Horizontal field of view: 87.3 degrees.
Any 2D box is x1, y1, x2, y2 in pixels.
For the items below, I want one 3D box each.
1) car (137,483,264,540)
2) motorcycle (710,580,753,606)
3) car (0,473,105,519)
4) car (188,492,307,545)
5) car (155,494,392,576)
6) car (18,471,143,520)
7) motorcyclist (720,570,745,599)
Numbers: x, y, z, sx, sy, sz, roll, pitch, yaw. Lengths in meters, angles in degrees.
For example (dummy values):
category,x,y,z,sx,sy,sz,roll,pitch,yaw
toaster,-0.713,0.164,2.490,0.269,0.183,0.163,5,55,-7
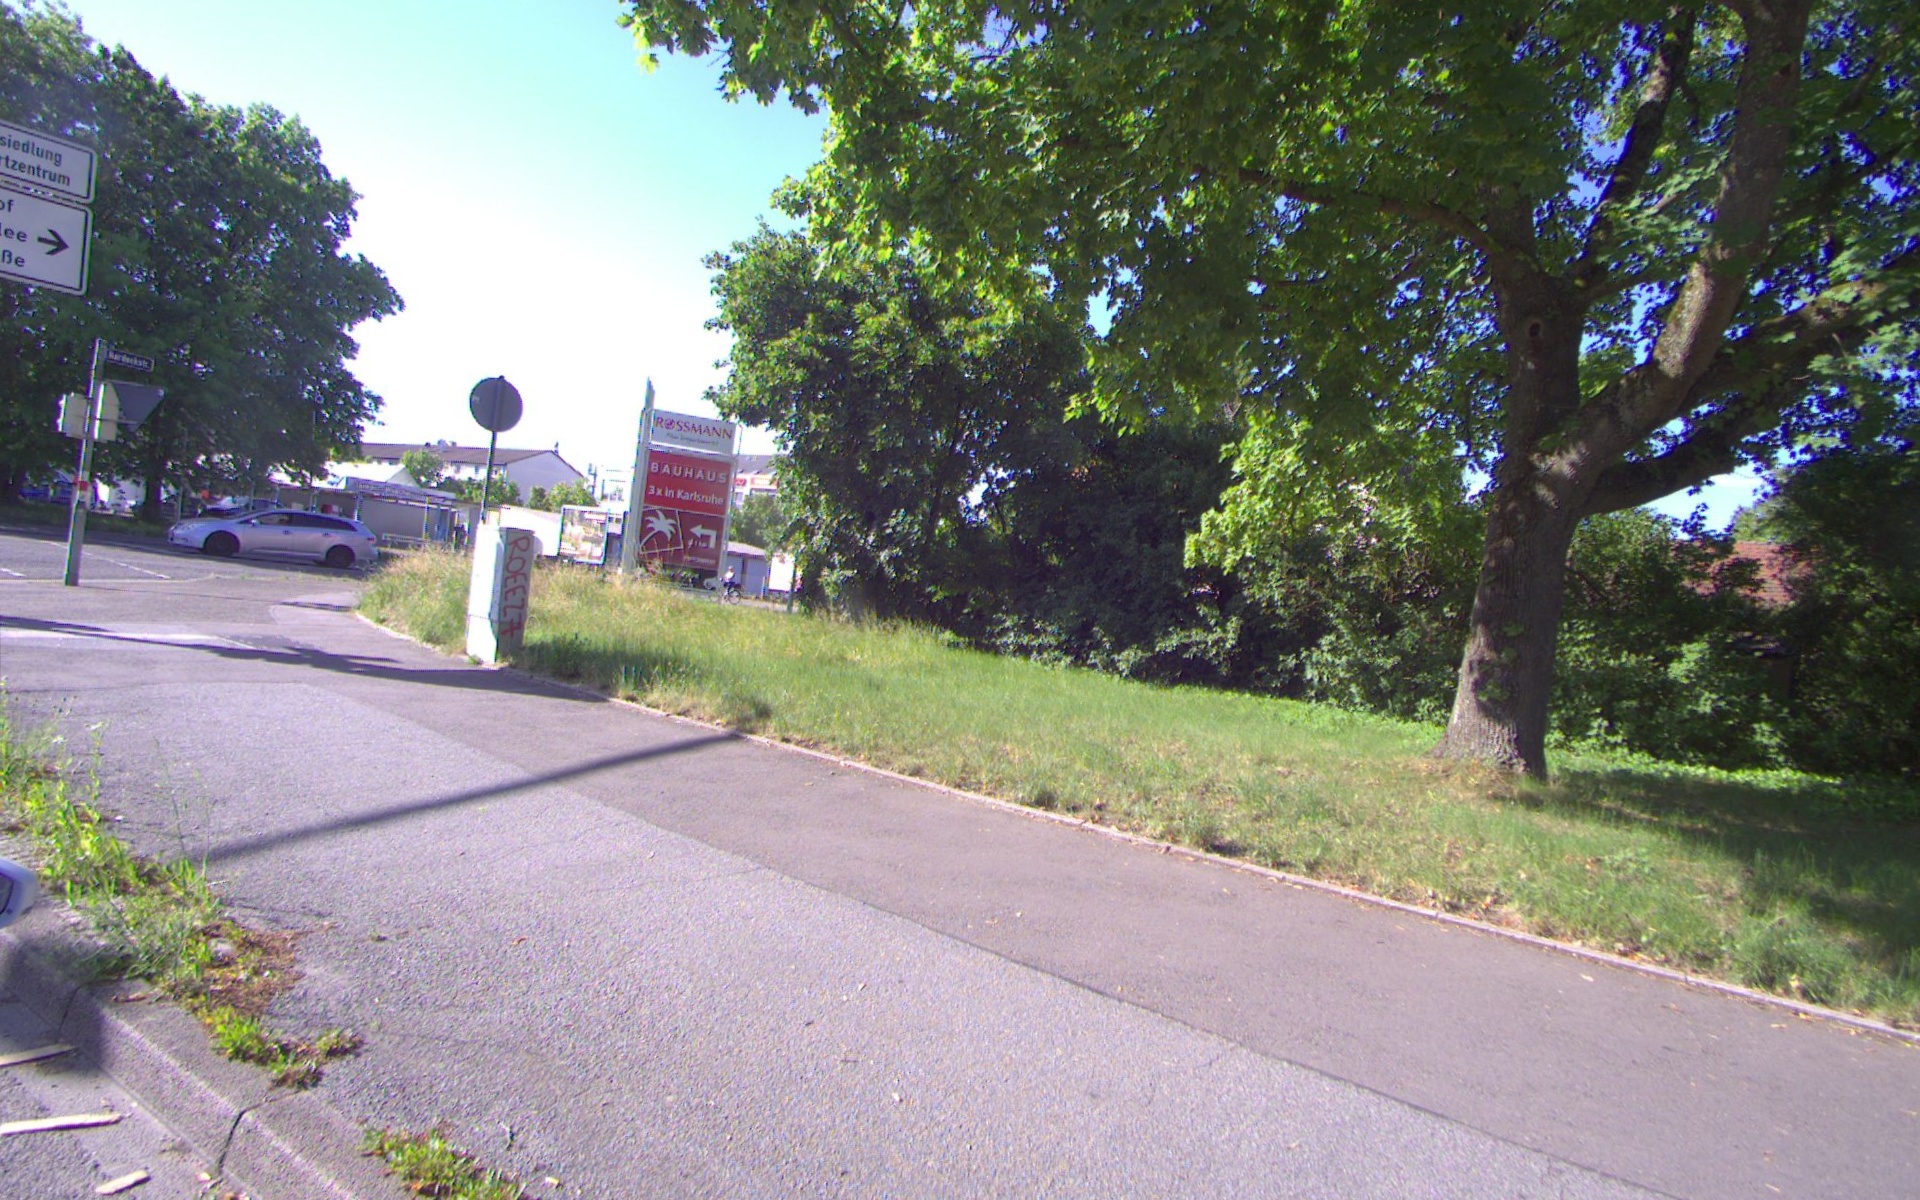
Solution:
category,x,y,z,sx,sy,sz,roll,pitch,yaw
car,-32.345,-3.729,42.988,1.962,1.772,4.001,7,0,9
motorcycle,-10.226,-0.309,45.092,0.645,0.949,1.781,8,1,42
car,-41.991,-4.766,46.161,1.712,1.537,3.902,7,0,9
car,-30.297,-3.424,42.921,1.712,1.701,4.001,7,0,9
car,-18.649,-1.731,27.530,1.973,1.504,4.994,7,0,43
car,-39.180,-4.624,44.936,1.712,1.537,3.902,7,0,9
motorcyclist,-10.199,-0.700,45.067,0.645,1.191,0.765,8,2,42
